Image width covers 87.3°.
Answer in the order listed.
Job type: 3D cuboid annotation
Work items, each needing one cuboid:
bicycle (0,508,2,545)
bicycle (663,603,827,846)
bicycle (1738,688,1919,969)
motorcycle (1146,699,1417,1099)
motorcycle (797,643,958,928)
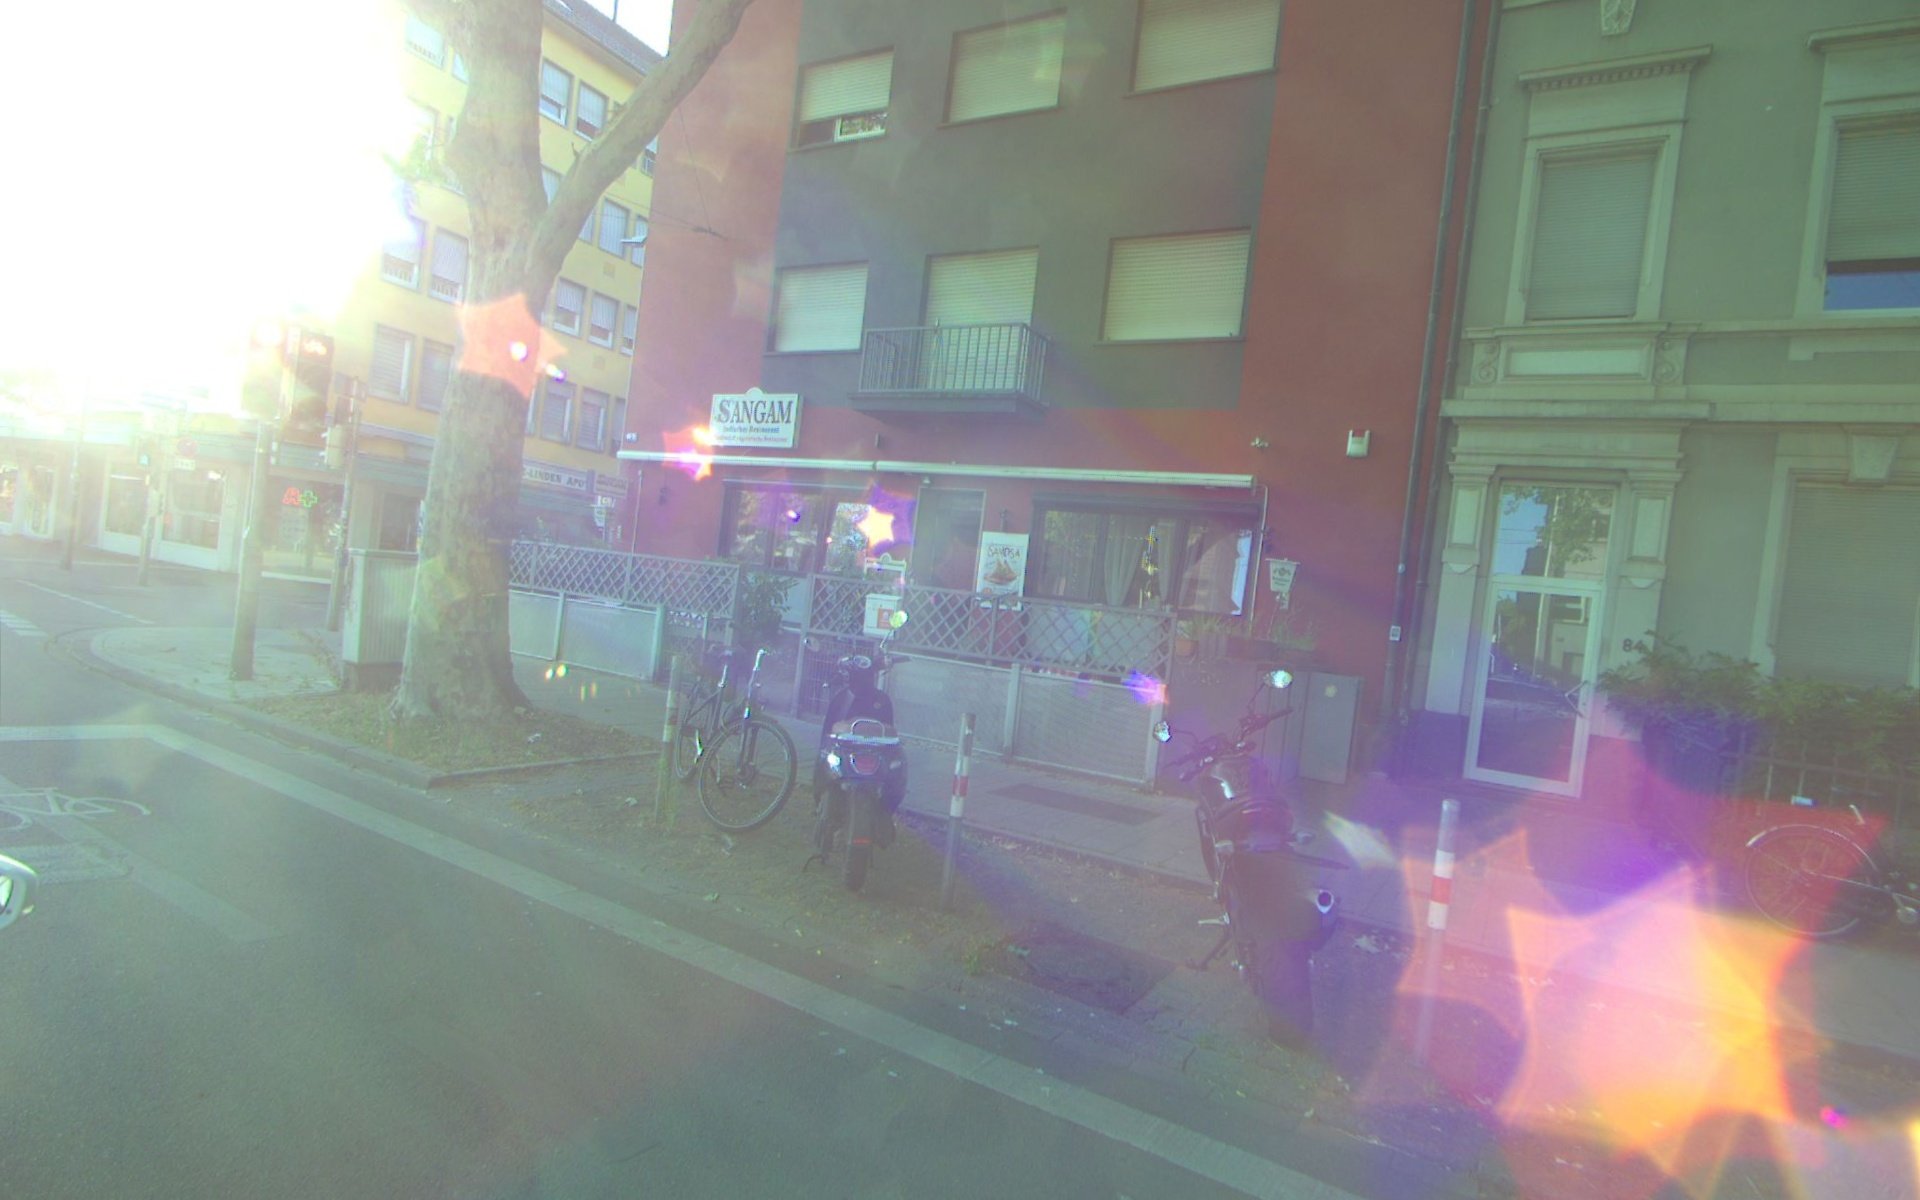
[{"bbox_3d":[-23.430,-1.715,23.214,0.683,1.034,1.774,7,1,31],"label":"bicycle"},{"bbox_3d":[-1.491,0.740,6.682,0.686,1.219,1.837,8,2,-20],"label":"bicycle"},{"bbox_3d":[5.866,1.371,5.507,2.356,1.443,0.608,6,-1,32],"label":"bicycle"},{"bbox_3d":[1.318,1.151,4.621,0.752,1.077,2.212,7,2,9],"label":"motorcycle"},{"bbox_3d":[-0.541,0.914,5.656,0.591,1.166,1.994,6,0,-10],"label":"motorcycle"}]
